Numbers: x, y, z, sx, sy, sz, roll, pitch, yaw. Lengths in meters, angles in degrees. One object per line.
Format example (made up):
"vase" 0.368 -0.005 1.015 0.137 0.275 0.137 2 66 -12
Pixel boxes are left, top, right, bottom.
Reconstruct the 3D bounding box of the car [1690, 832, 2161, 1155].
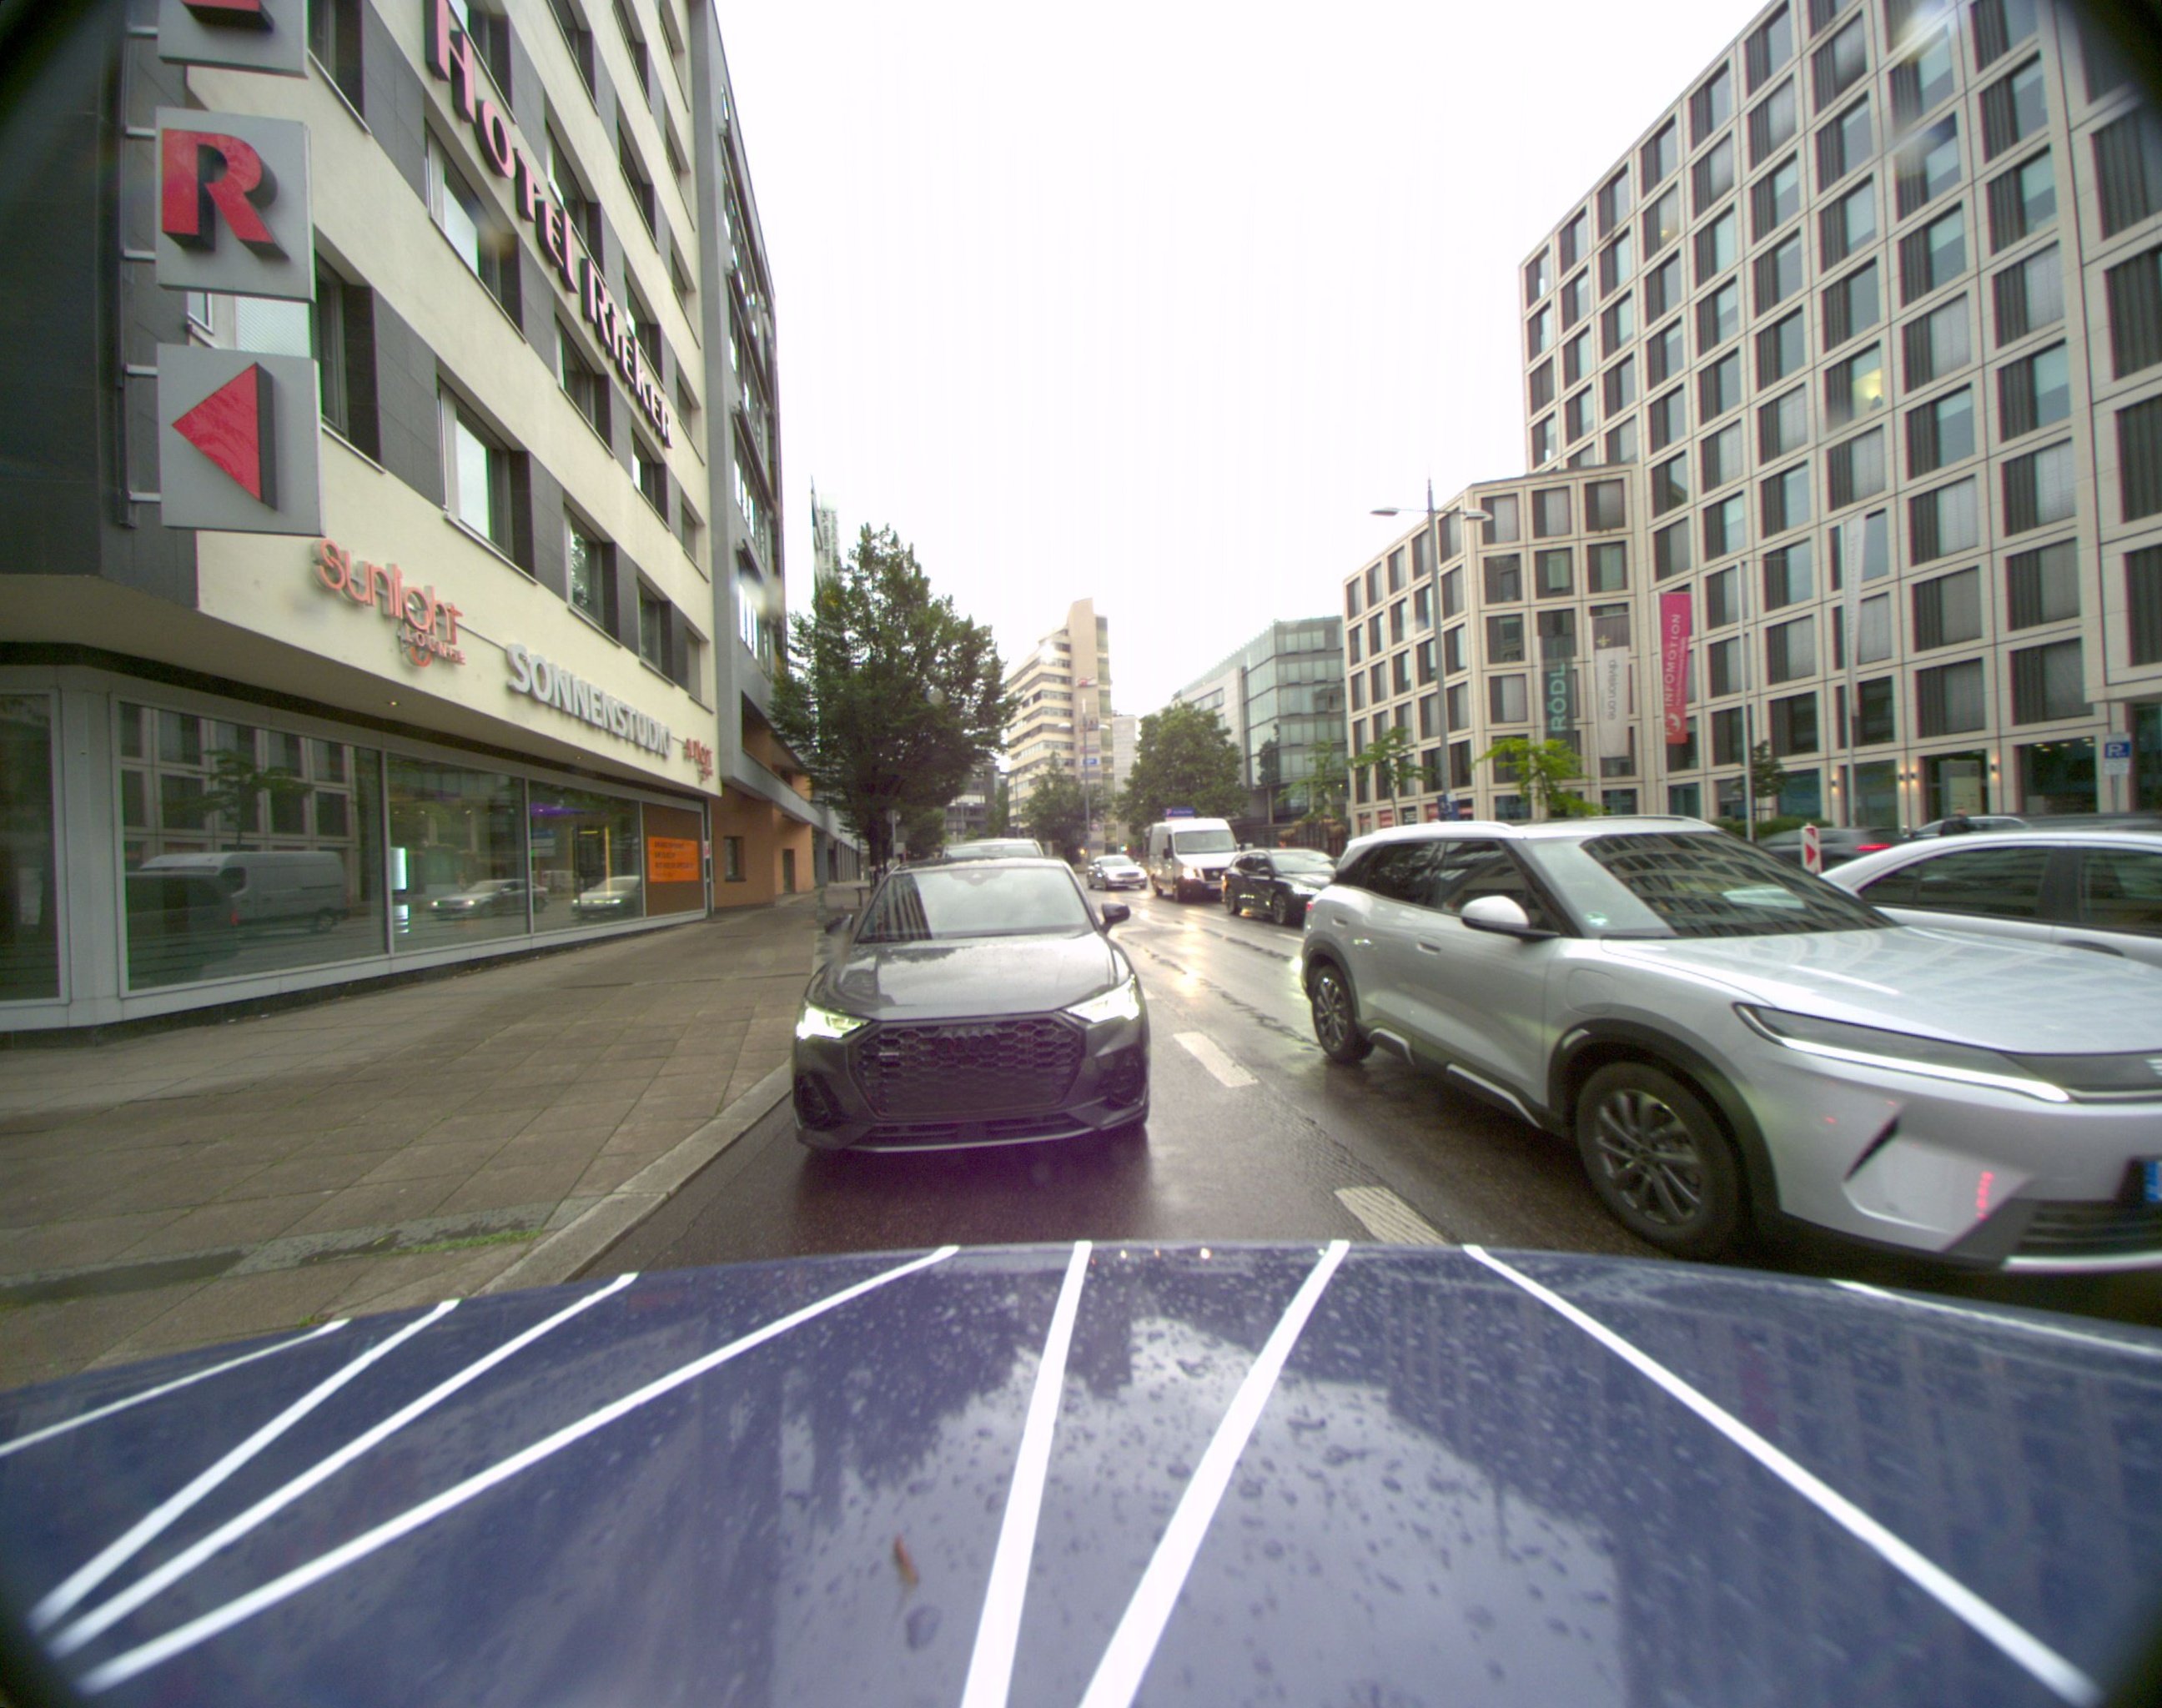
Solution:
"car" 5.743 0.626 3.683 1.738 1.396 4.380 -4 1 -6

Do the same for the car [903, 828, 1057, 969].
"car" -1.620 0.594 13.320 2.060 1.881 5.046 -3 1 -4

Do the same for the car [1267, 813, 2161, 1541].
"car" 2.663 0.724 3.963 1.814 1.651 4.167 -4 1 -8

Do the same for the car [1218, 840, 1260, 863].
"car" 15.079 -0.272 72.952 2.000 2.002 4.910 -4 1 -13

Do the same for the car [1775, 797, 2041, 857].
"car" 24.083 -0.714 22.490 1.703 1.560 5.178 -1 0 -12

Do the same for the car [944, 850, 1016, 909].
"car" -3.894 0.860 28.458 2.061 1.881 5.042 -4 1 -13

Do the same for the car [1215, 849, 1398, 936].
"car" 4.354 0.664 15.473 1.905 1.393 4.237 -4 1 -8

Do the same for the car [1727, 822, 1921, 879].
"car" 21.478 -0.095 22.165 1.704 1.510 3.683 -1 0 -15

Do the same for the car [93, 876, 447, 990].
"car" -15.833 1.409 15.395 1.999 1.600 4.924 -3 1 -4

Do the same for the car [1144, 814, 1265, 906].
"car" 3.611 0.118 23.519 2.260 2.372 5.716 -3 1 -4

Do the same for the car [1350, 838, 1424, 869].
"car" 15.922 -0.015 39.767 1.703 1.510 3.870 -1 0 -12

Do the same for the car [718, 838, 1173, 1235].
"car" -0.700 0.727 5.388 1.802 1.543 4.385 -3 1 -4

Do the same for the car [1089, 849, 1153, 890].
"car" 1.617 0.600 32.065 1.786 1.499 3.996 -4 1 -10

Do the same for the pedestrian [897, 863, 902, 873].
"pedestrian" -29.432 2.250 123.023 0.654 1.589 1.057 -4 2 -18

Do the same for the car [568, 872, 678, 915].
"car" -16.508 1.385 27.650 1.721 1.187 3.998 -3 1 -4

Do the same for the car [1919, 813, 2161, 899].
"car" 19.585 0.022 15.098 1.703 1.510 3.551 -1 0 -12

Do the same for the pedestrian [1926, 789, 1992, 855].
"pedestrian" 23.628 -0.846 20.470 0.614 1.724 0.966 -4 2 -13

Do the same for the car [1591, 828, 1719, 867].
"car" 22.977 -0.239 30.598 1.703 1.415 3.951 -1 0 -12

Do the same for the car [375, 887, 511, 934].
"car" -23.334 2.045 27.920 3.391 1.322 1.564 -4 1 -15

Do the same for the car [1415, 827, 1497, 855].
"car" 20.526 -0.699 41.802 1.703 1.415 4.369 -1 0 -12
